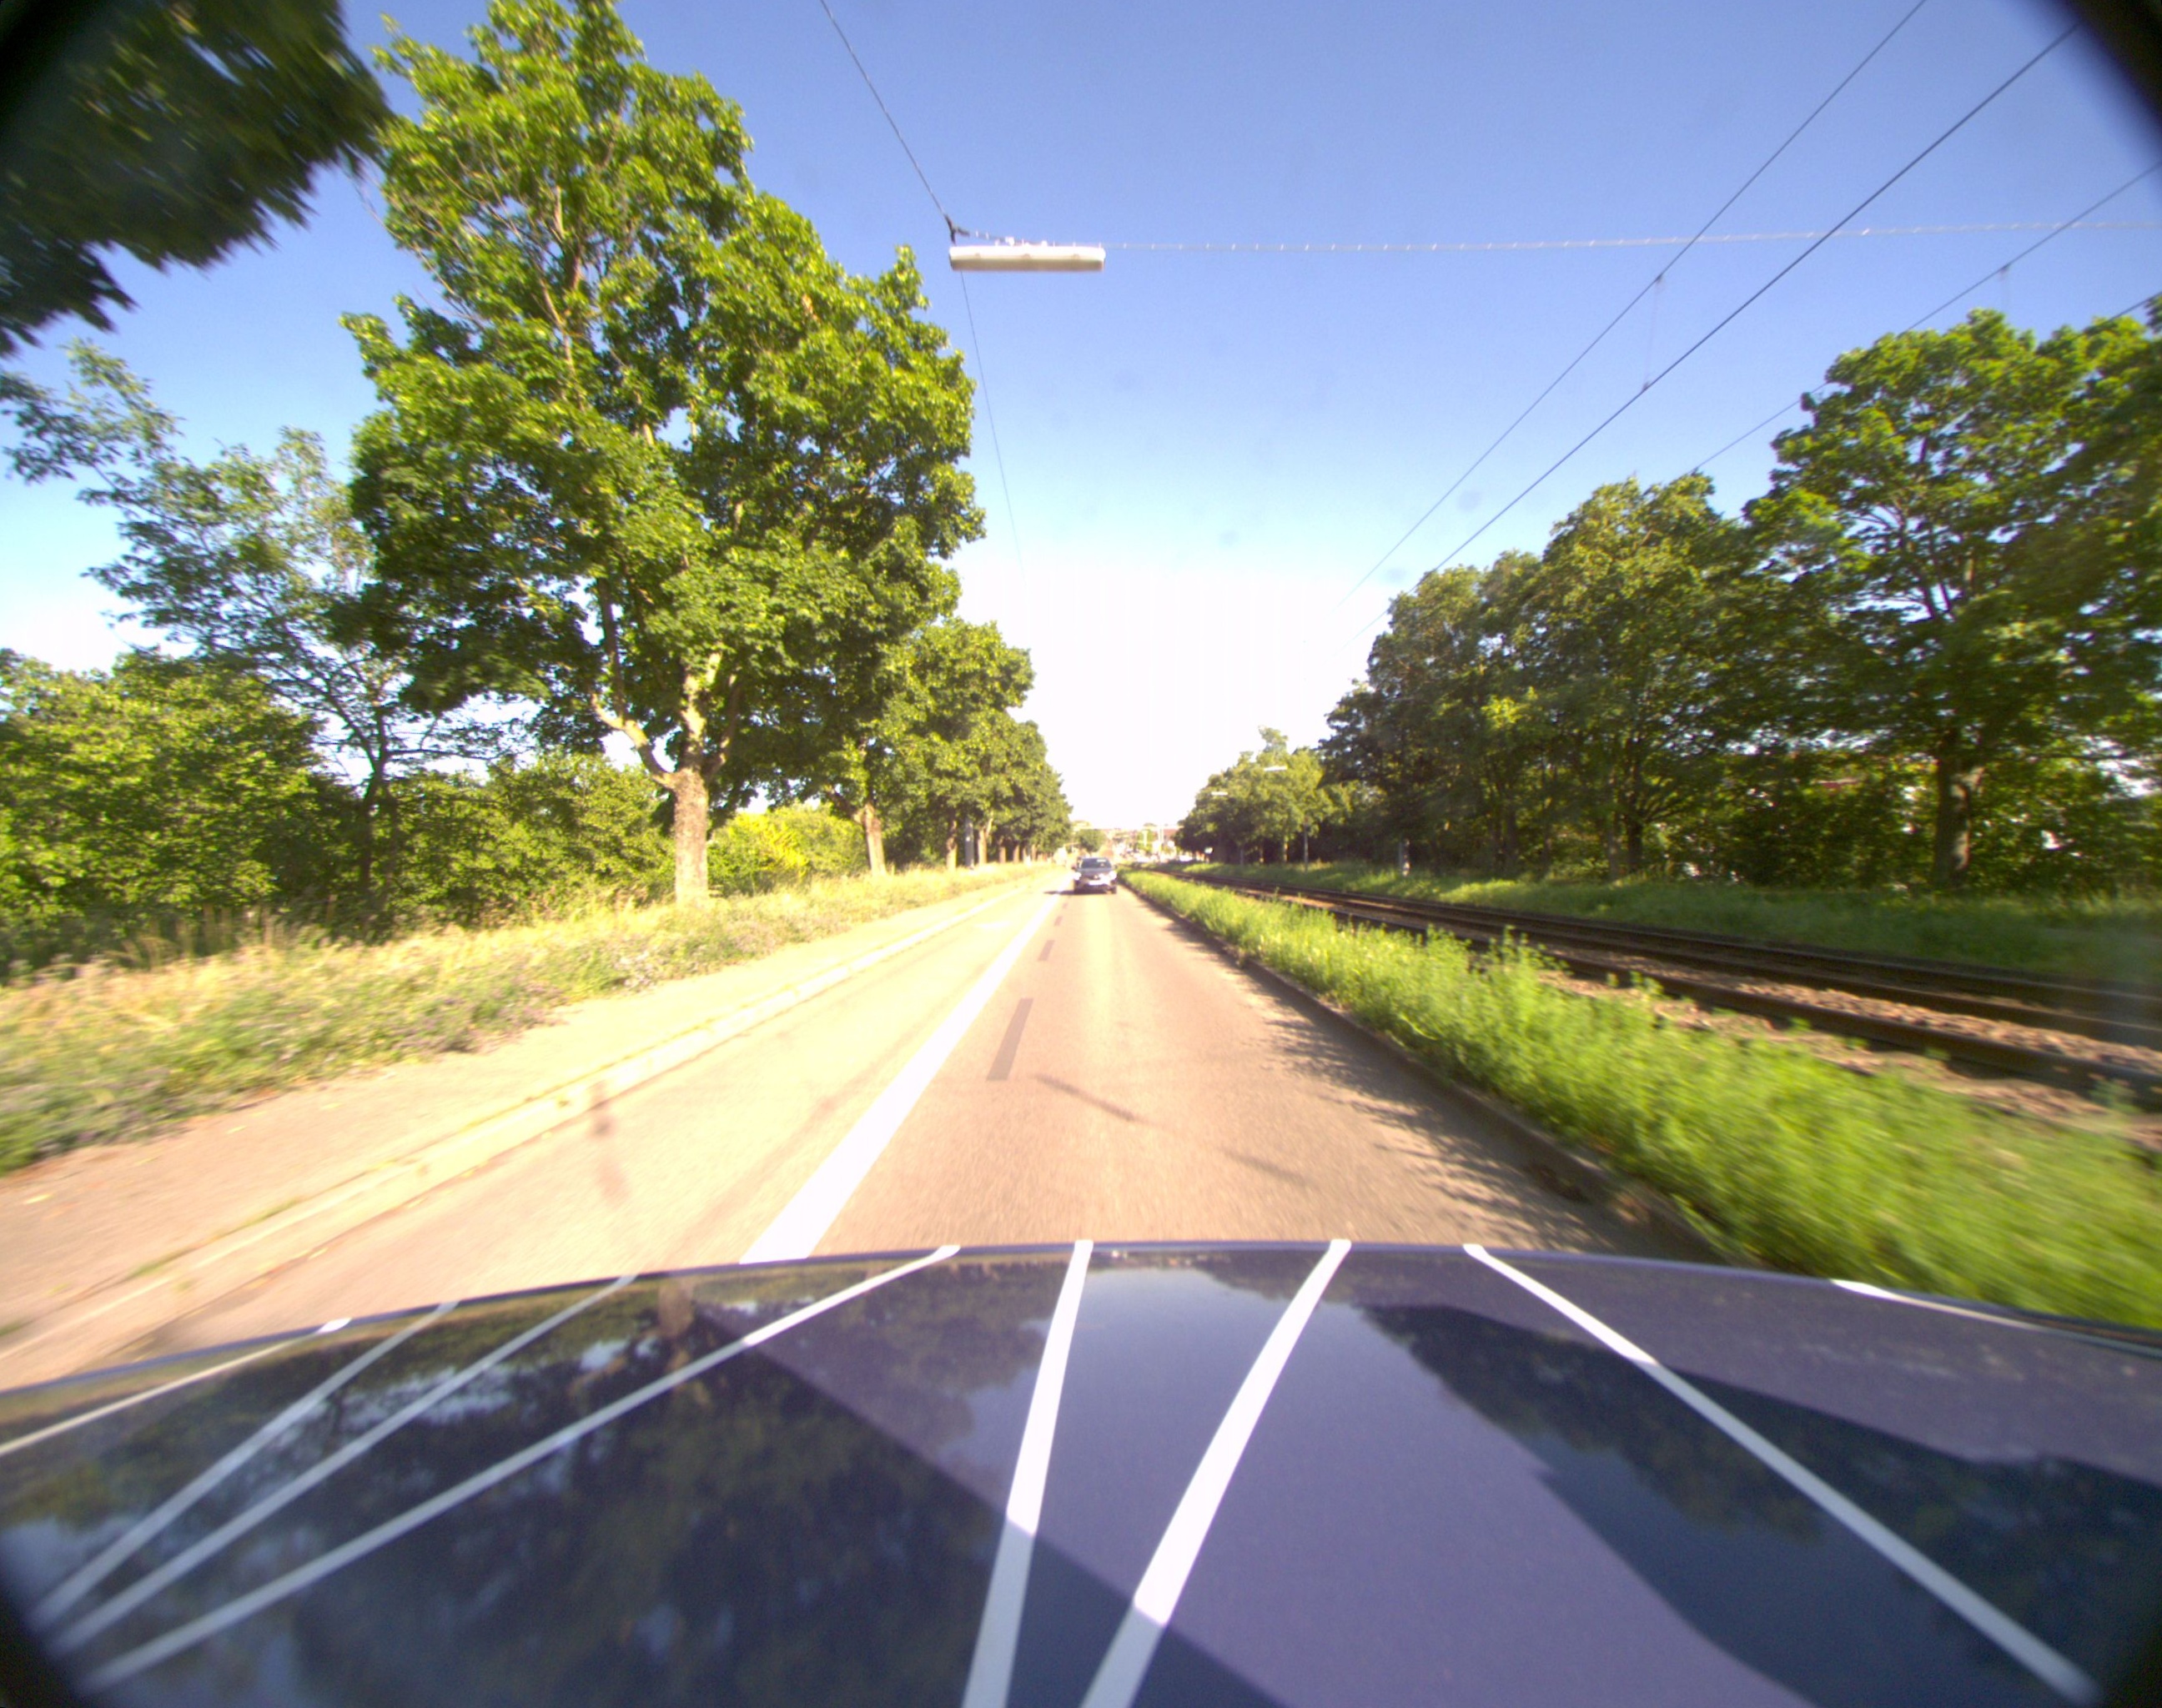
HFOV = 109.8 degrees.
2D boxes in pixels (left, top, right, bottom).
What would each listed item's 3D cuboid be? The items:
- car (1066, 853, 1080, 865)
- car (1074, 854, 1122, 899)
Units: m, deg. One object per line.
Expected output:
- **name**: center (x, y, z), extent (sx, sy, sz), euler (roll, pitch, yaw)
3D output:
- **car**: center (-1.180, 0.701, 114.181), extent (1.814, 1.625, 4.128), euler (-3, 0, 1)
- **car**: center (0.691, 0.864, 31.657), extent (1.814, 1.625, 4.709), euler (-1, 1, 1)
